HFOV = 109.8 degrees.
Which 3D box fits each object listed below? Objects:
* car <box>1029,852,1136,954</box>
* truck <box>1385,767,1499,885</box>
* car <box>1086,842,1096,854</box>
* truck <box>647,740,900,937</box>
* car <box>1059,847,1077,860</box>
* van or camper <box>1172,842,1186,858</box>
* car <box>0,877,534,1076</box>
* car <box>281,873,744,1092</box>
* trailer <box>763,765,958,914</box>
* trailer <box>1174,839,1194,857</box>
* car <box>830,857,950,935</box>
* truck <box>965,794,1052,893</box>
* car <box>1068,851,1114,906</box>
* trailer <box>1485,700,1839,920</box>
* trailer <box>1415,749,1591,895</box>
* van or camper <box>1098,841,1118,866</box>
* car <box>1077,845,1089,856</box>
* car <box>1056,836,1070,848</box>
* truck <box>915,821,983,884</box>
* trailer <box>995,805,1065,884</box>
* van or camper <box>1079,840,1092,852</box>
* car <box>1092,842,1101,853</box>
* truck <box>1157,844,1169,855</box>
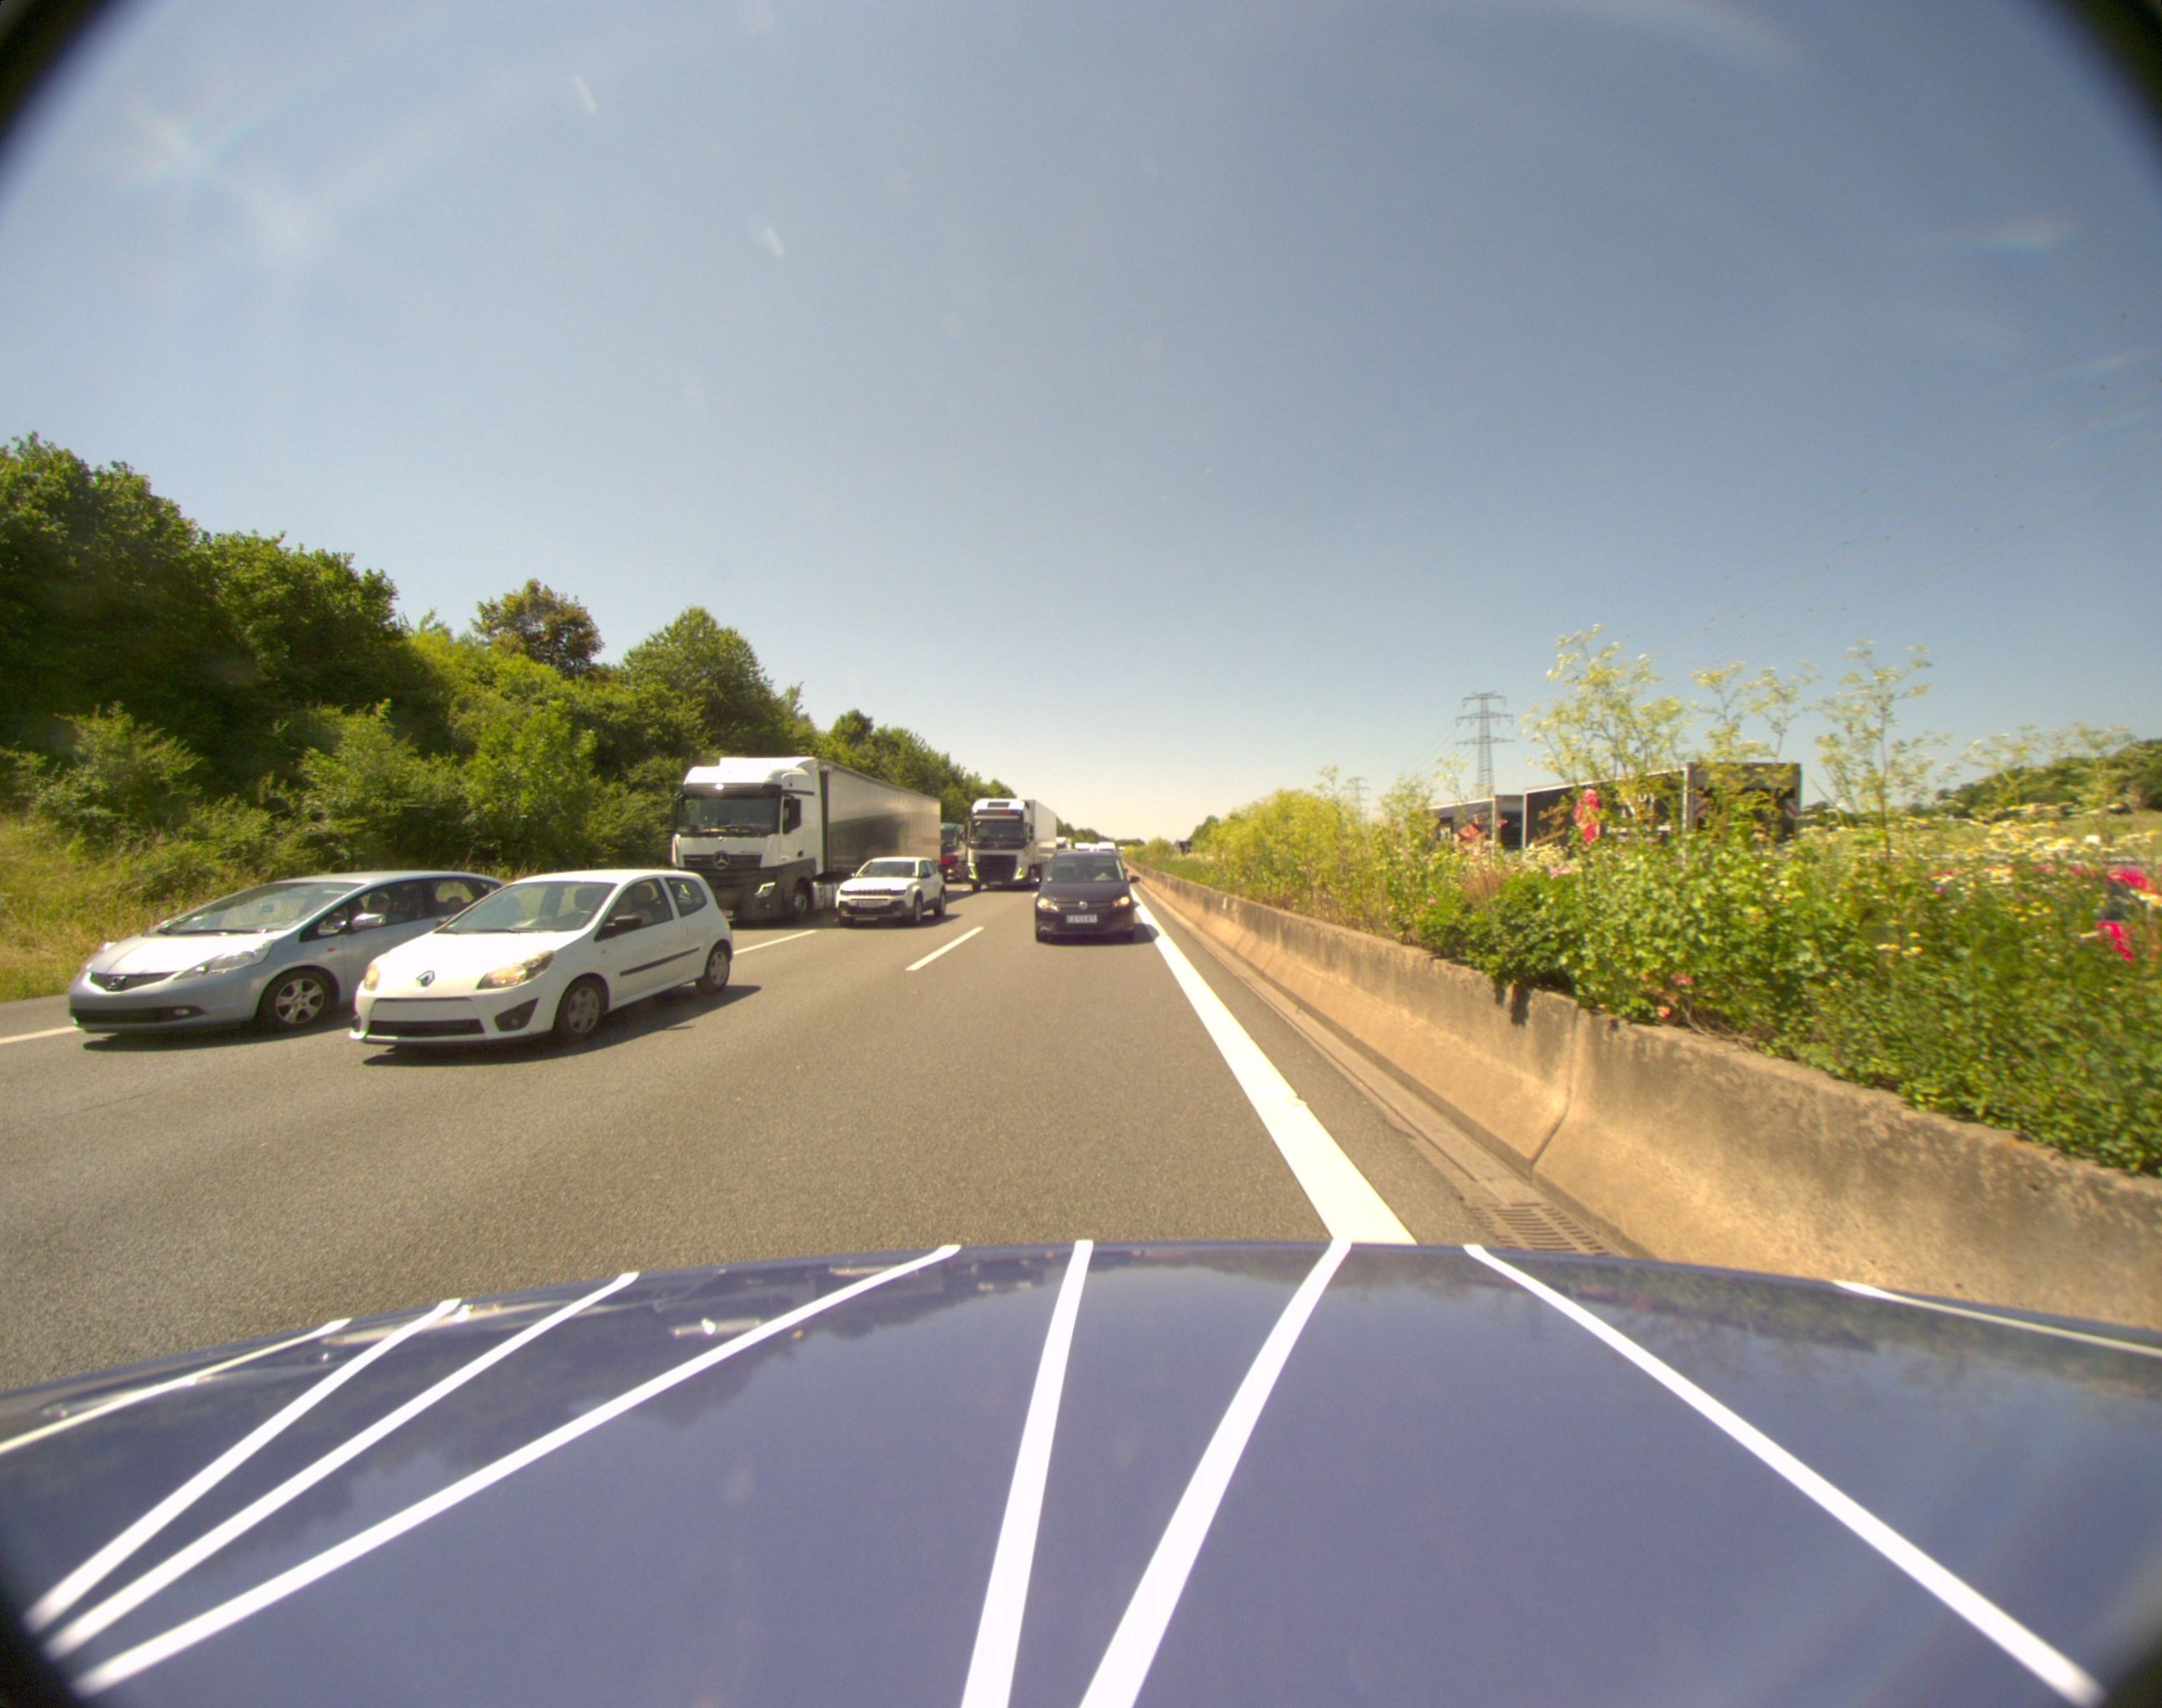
[{"bbox_3d":[0.122,0.812,15.235,1.758,1.571,5.291,0,1,2],"label":"car"},{"bbox_3d":[16.371,-1.204,34.746,3.311,5.021,4.032,-1,1,1],"label":"truck"},{"bbox_3d":[1.977,-1.237,150.409,1.998,2.302,4.229,-1,1,1],"label":"car"},{"bbox_3d":[-7.543,-0.374,20.397,2.879,4.133,8.475,-1,1,3],"label":"truck"},{"bbox_3d":[-1.396,-0.087,82.217,1.650,1.336,3.381,-1,1,3],"label":"car"},{"bbox_3d":[17.667,-0.682,137.317,2.053,2.843,4.649,0,1,1],"label":"van or camper"},{"bbox_3d":[-8.181,1.066,8.194,1.666,1.453,3.922,0,1,1],"label":"car"},{"bbox_3d":[-5.017,0.989,7.483,1.609,1.426,3.809,0,1,2],"label":"car"},{"bbox_3d":[-7.181,-0.480,27.405,2.879,4.133,12.076,-1,1,3],"label":"trailer"},{"bbox_3d":[22.171,-1.357,163.901,3.190,3.740,8.200,0,0,1],"label":"trailer"},{"bbox_3d":[-4.382,0.896,18.046,1.748,1.549,3.884,0,1,2],"label":"car"},{"bbox_3d":[-3.091,-0.487,34.933,2.750,3.972,8.361,-1,1,3],"label":"truck"},{"bbox_3d":[0.373,0.749,24.902,1.357,1.630,2.994,-2,1,3],"label":"car"},{"bbox_3d":[16.010,-1.072,22.407,3.330,5.018,9.590,-1,1,2],"label":"trailer"},{"bbox_3d":[16.242,-1.155,29.915,3.330,5.018,6.703,-1,1,2],"label":"trailer"},{"bbox_3d":[2.754,-0.084,76.711,1.956,2.368,4.037,-2,1,3],"label":"van or camper"},{"bbox_3d":[0.325,-0.603,118.812,1.652,1.636,4.000,-1,1,3],"label":"car"},{"bbox_3d":[-2.977,-2.026,126.637,1.998,2.002,4.000,-1,1,2],"label":"car"},{"bbox_3d":[-6.949,-0.103,40.763,2.299,3.128,5.675,-1,1,3],"label":"truck"},{"bbox_3d":[-2.679,-0.553,42.881,2.776,3.951,9.156,-1,1,3],"label":"trailer"},{"bbox_3d":[0.796,-1.351,133.264,2.189,2.018,4.364,-1,1,3],"label":"van or camper"},{"bbox_3d":[3.440,-1.413,170.054,1.998,2.302,4.229,-1,1,2],"label":"car"},{"bbox_3d":[24.311,-1.281,224.951,2.771,3.269,11.820,0,1,3],"label":"truck"}]
